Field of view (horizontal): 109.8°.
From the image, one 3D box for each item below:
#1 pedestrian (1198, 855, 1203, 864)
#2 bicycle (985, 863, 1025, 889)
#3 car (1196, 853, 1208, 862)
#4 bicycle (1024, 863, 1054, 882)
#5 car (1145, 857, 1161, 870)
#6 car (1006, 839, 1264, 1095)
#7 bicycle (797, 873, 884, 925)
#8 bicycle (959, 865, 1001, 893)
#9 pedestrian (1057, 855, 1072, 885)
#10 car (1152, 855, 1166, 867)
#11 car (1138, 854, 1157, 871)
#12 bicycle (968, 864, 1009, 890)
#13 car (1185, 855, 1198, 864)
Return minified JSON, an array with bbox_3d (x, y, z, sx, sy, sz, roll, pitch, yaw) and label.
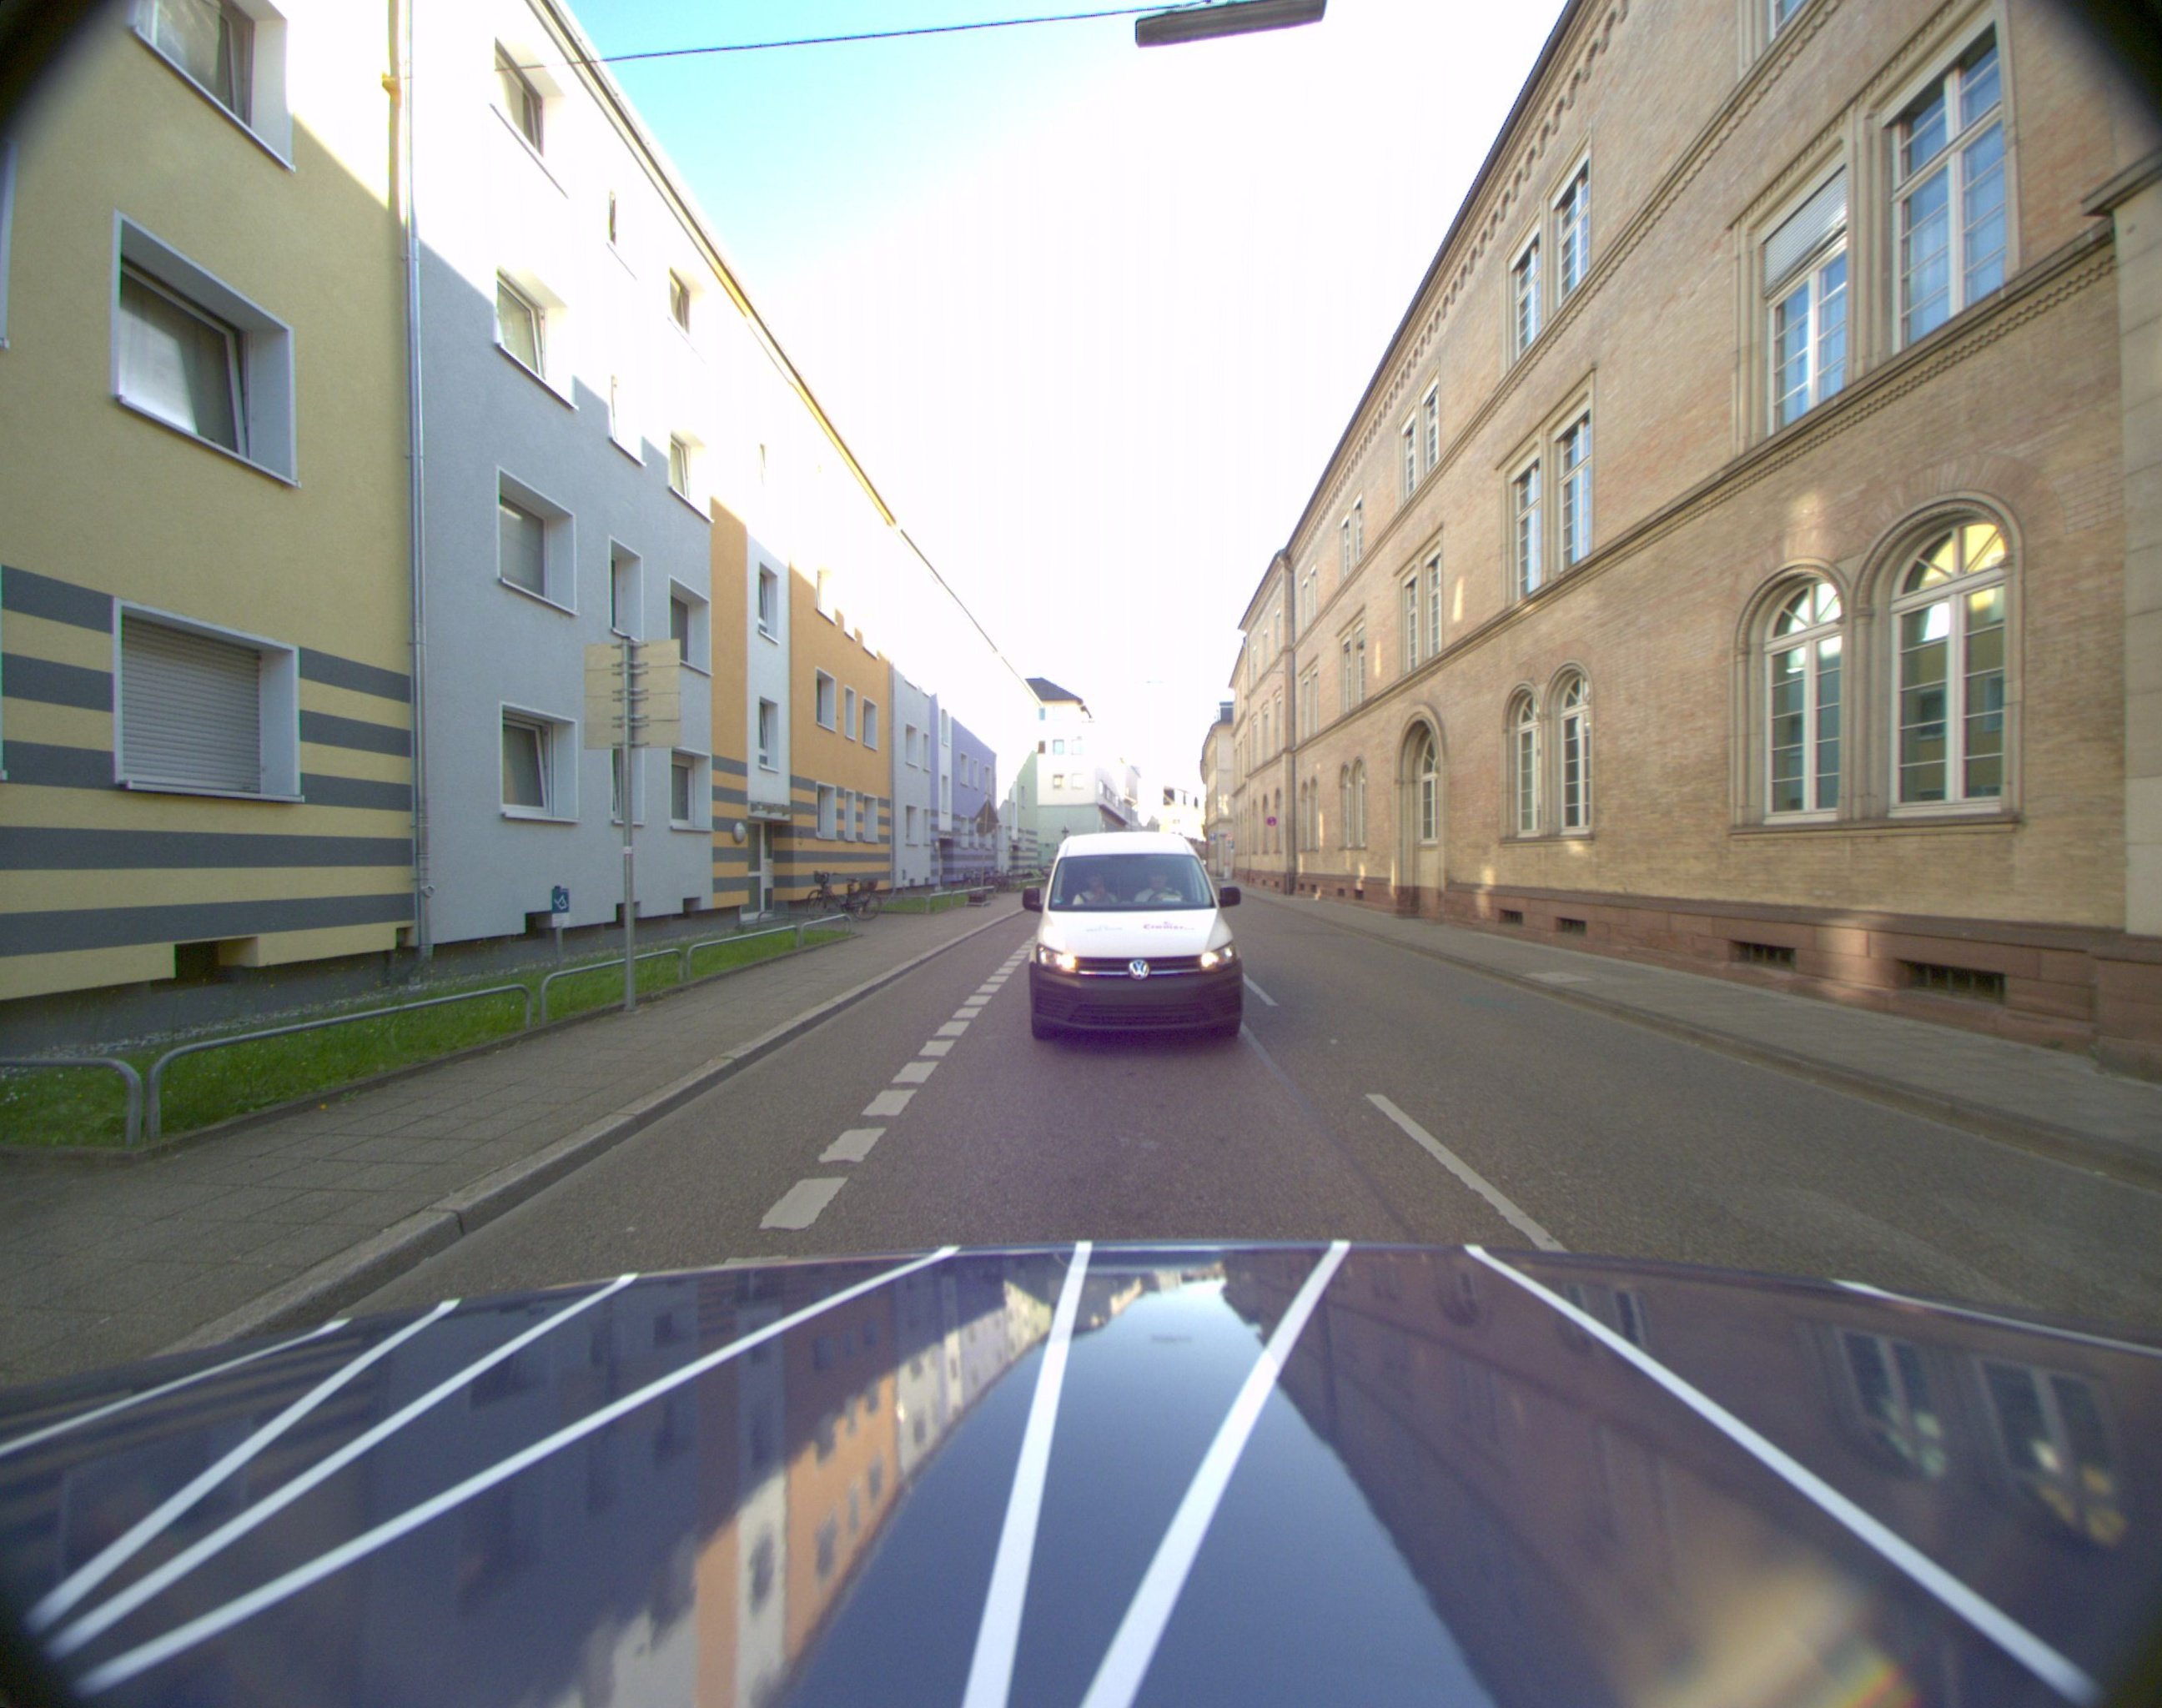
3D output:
[{"bbox_3d":[23.419,1.073,148.818,0.705,1.627,0.833,3,2,12],"label":"pedestrian"},{"bbox_3d":[-3.372,0.981,33.663,1.676,1.145,0.484,0,0,4],"label":"bicycle"},{"bbox_3d":[26.094,0.714,163.735,1.996,1.643,4.233,-2,1,17],"label":"car"},{"bbox_3d":[-2.515,1.125,46.035,1.779,1.145,0.484,0,0,0],"label":"bicycle"},{"bbox_3d":[10.678,1.375,112.984,1.997,1.643,4.231,-2,1,10],"label":"car"},{"bbox_3d":[0.411,0.753,7.927,1.769,1.761,5.331,-1,1,1],"label":"car"},{"bbox_3d":[-5.385,0.999,17.088,1.780,1.116,0.484,0,0,-5],"label":"bicycle"},{"bbox_3d":[-4.235,1.025,31.824,1.676,1.145,0.484,0,0,4],"label":"bicycle"},{"bbox_3d":[-0.926,0.890,42.221,0.705,1.627,0.833,2,2,5],"label":"pedestrian"},{"bbox_3d":[12.649,1.128,122.683,1.997,1.643,4.231,-2,1,9],"label":"car"},{"bbox_3d":[9.415,1.186,107.072,2.103,2.264,5.506,-2,1,11],"label":"car"},{"bbox_3d":[-4.031,0.998,33.118,1.676,1.145,0.484,0,0,4],"label":"bicycle"},{"bbox_3d":[22.111,1.005,152.005,1.996,1.643,4.233,-2,1,17],"label":"car"}]
